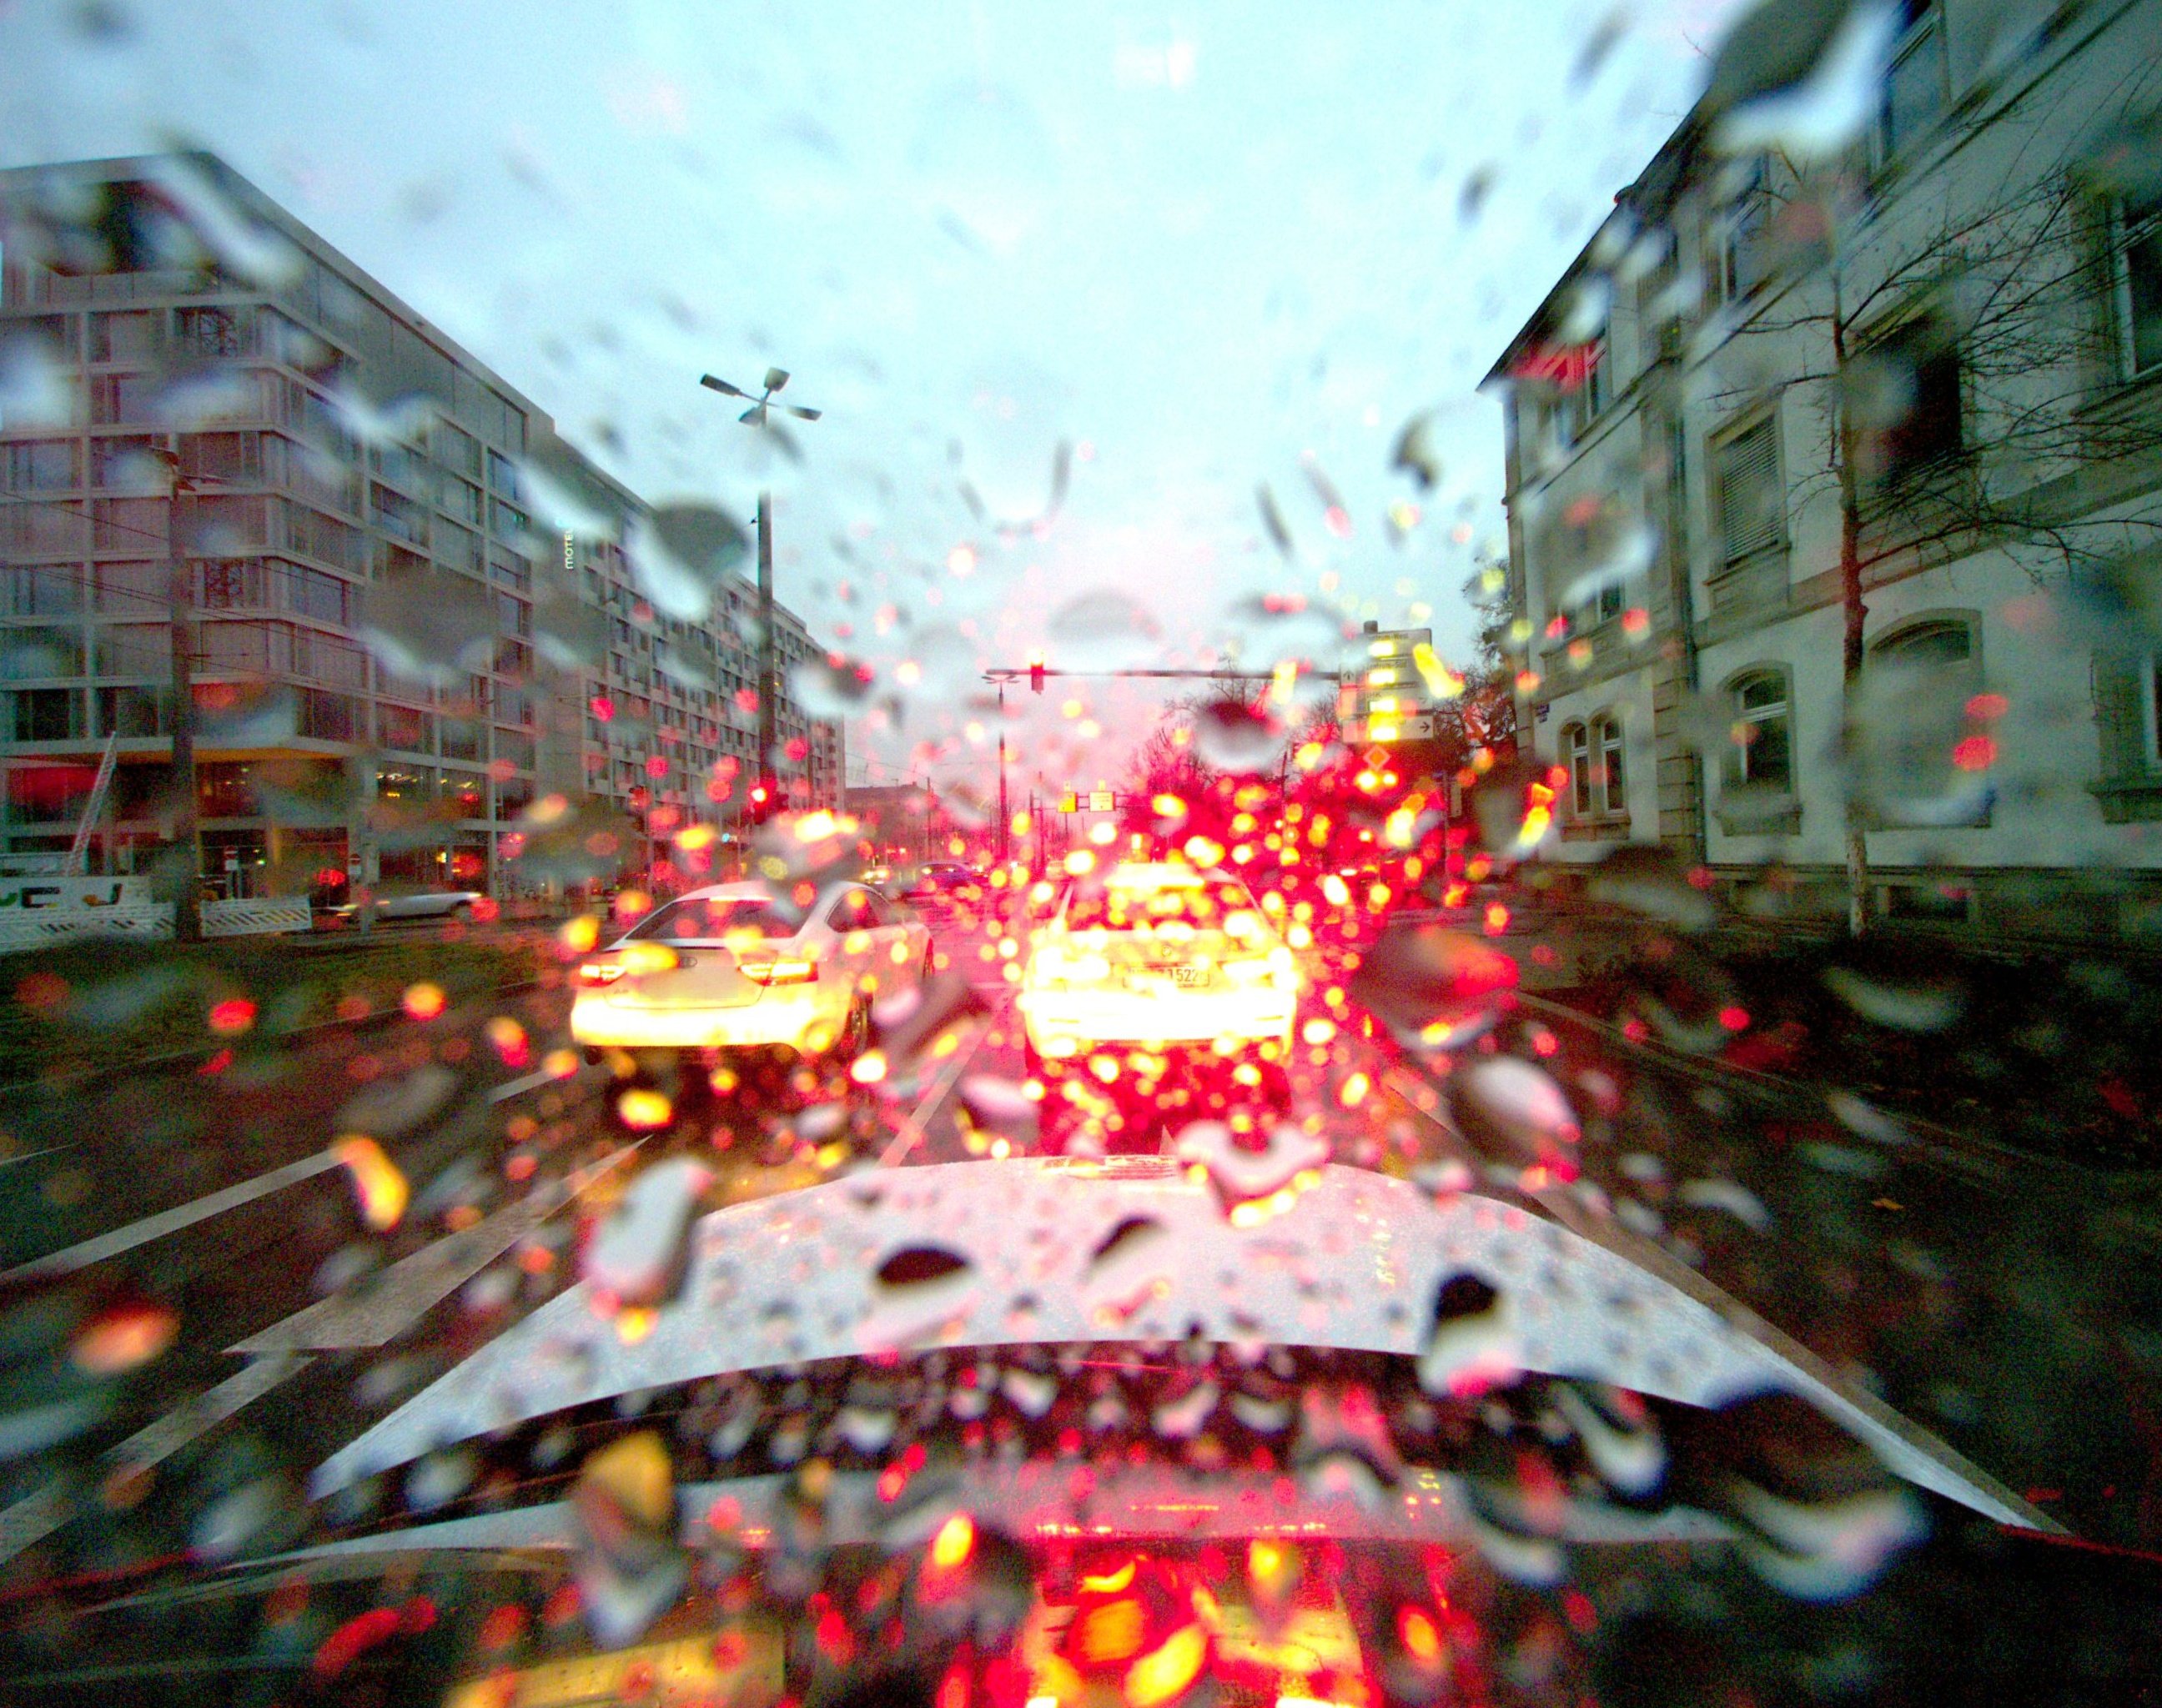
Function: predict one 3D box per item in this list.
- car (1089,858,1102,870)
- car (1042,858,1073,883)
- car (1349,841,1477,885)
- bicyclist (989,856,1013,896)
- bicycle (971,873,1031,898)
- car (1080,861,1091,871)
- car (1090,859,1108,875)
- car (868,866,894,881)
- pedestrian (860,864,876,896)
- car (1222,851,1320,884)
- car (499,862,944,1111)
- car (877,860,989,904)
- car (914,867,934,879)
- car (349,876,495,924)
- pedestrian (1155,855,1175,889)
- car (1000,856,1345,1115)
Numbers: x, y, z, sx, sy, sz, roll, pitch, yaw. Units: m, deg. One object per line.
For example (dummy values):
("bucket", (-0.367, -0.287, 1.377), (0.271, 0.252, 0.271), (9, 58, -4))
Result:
("car", (2.065, 1.448, 114.494), (1.836, 1.609, 3.945), (0, -1, 1))
("car", (-1.553, 1.089, 52.994), (1.741, 1.554, 3.959), (0, -1, -6))
("car", (11.664, 0.350, 28.898), (4.059, 1.441, 1.848), (-1, -1, 19))
("bicyclist", (-3.642, 0.996, 37.029), (0.969, 1.759, 0.813), (0, -1, 0))
("bicycle", (-3.622, 1.426, 37.016), (2.658, 1.089, 0.815), (0, -1, 0))
("car", (0.726, 1.866, 129.980), (1.836, 1.609, 3.945), (0, -1, 1))
("car", (1.843, 1.345, 84.966), (1.836, 1.609, 3.945), (0, -1, 1))
("car", (-20.514, 2.017, 83.715), (1.669, 1.508, 3.697), (0, -1, 1))
("pedestrian", (-11.707, 1.430, 44.776), (0.791, 1.712, 0.809), (0, -1, -13))
("car", (8.445, 0.594, 36.216), (3.950, 1.402, 1.768), (0, -1, 27))
("car", (-2.586, 0.840, 7.224), (1.987, 1.456, 4.367), (-1, 0, 0))
("car", (-5.622, 1.061, 31.256), (3.974, 1.622, 1.719), (0, -1, 0))
("car", (-19.897, 2.365, 103.478), (1.669, 1.508, 3.697), (0, -1, 1))
("car", (-22.061, 1.505, 27.471), (3.716, 1.478, 1.611), (1, -1, -36))
("pedestrian", (4.695, 0.991, 45.373), (0.894, 1.856, 0.817), (-1, -1, 26))
("car", (0.537, 0.771, 6.931), (1.987, 1.456, 4.367), (-1, 0, 0))
